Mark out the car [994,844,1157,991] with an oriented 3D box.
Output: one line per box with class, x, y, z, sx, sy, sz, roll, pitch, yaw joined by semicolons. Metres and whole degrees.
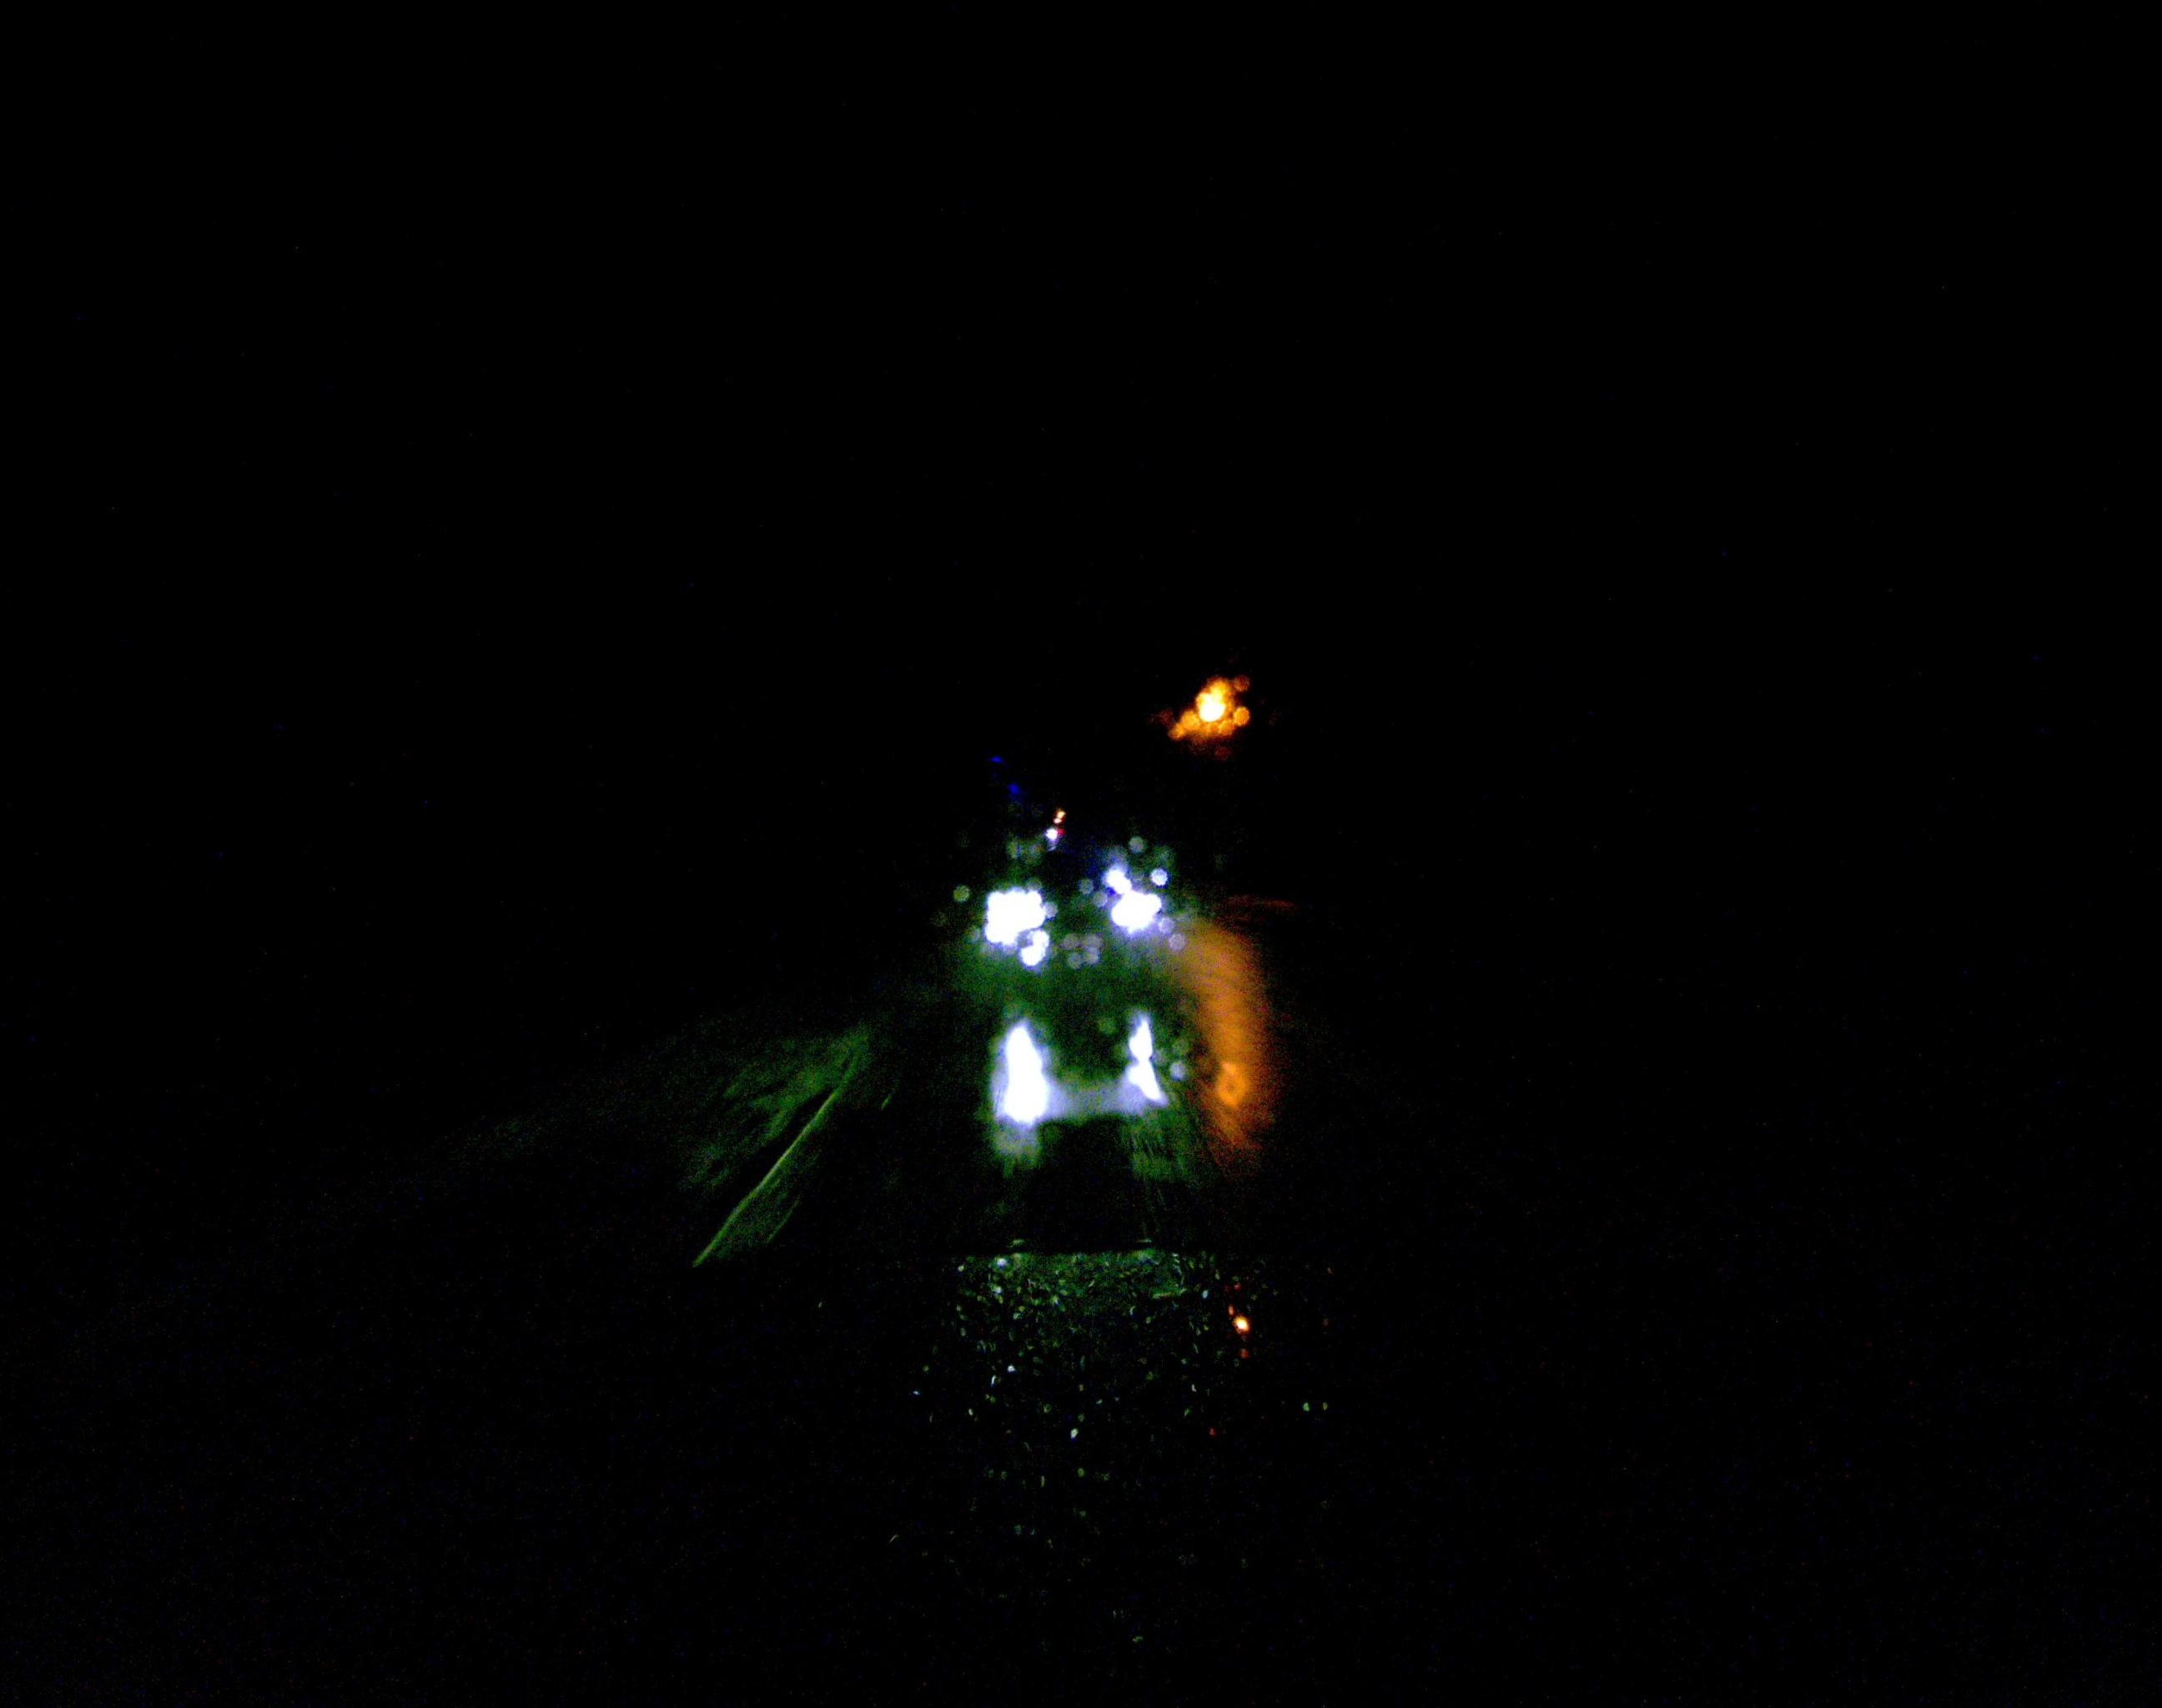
car;-0.197;0.743;11.360;1.894;1.678;4.337;-3;1;-4
